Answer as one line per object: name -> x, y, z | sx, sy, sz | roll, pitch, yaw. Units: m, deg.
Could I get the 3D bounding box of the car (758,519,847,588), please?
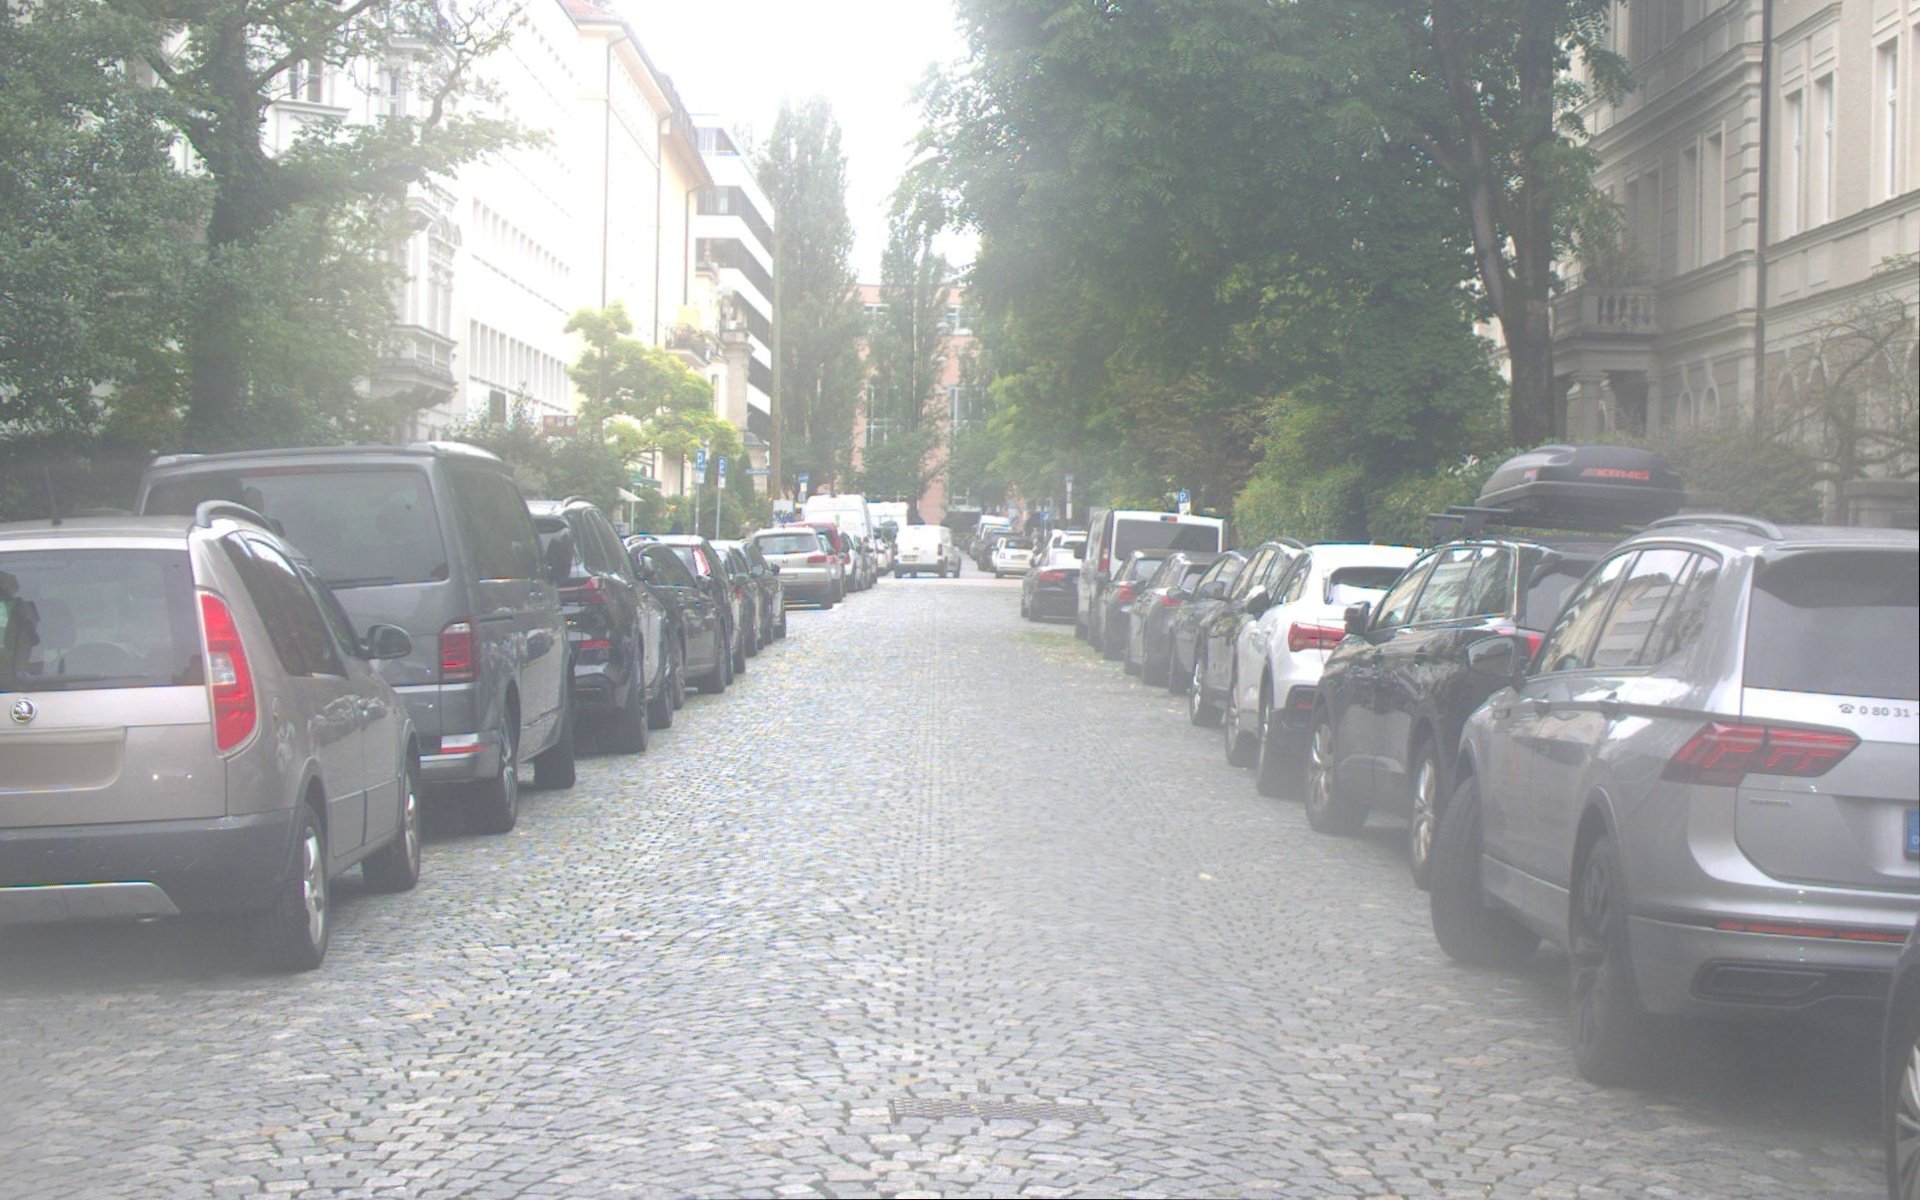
car -> -3.449, -1.045, 75.608 | 1.873, 1.446, 4.208 | -1, 1, -2

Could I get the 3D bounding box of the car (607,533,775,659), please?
car -> -3.285, -0.092, 42.683 | 1.783, 1.412, 4.497 | -2, 1, -1

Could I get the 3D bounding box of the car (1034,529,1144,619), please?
car -> 2.478, -0.529, 67.019 | 1.817, 1.574, 4.208 | 4, 1, -1

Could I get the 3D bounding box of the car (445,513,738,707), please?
car -> -3.159, 0.031, 30.465 | 1.978, 1.555, 5.017 | -1, 1, 1

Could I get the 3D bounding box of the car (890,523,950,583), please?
car -> -1.390, -1.648, 120.077 | 1.993, 2.007, 4.000 | 1, 1, 0

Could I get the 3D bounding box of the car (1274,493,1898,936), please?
car -> 2.862, 0.433, 16.886 | 1.873, 1.729, 4.748 | 5, 1, -3

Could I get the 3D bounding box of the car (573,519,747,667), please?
car -> -3.042, -0.113, 35.490 | 1.662, 1.439, 4.172 | 0, 1, -3

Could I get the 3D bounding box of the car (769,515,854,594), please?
car -> -3.511, -1.103, 81.880 | 1.873, 1.770, 4.123 | -2, 1, -1

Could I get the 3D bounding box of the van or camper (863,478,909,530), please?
van or camper -> -4.009, -5.193, 186.831 | 2.256, 2.733, 5.098 | 2, 1, 0

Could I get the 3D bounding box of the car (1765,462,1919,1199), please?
car -> 2.982, 0.676, 5.925 | 1.873, 1.729, 4.659 | 5, 1, -1

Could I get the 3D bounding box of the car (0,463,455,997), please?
car -> -3.156, 0.384, 13.483 | 1.865, 1.729, 4.404 | -1, 1, -3

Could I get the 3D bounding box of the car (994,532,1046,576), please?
car -> 2.145, -1.671, 123.426 | 1.790, 1.515, 4.000 | 1, 1, 0

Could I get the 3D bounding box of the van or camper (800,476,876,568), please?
van or camper -> -3.608, -2.313, 102.299 | 1.993, 2.643, 4.000 | -2, 1, 0

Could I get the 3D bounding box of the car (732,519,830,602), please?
car -> -3.589, -0.811, 69.446 | 1.873, 1.574, 4.256 | -2, 1, -2

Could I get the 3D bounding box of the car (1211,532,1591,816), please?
car -> 2.696, 0.378, 22.021 | 1.873, 1.485, 4.617 | 3, 2, 2

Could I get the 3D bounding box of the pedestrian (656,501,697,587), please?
pedestrian -> -6.425, -1.278, 77.916 | 0.792, 1.911, 0.759 | 2, 1, 0

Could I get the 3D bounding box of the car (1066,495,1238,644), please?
car -> 2.703, -0.477, 49.573 | 1.873, 1.921, 5.165 | 4, 1, -2

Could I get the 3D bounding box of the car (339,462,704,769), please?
car -> -3.023, 0.045, 24.801 | 1.993, 1.910, 5.178 | -2, 1, -1

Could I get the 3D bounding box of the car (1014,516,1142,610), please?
car -> 2.077, -0.692, 61.774 | 1.873, 1.498, 4.512 | 4, 1, -2

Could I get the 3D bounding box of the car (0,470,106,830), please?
car -> -5.522, 0.192, 15.938 | 1.945, 1.729, 4.658 | 4, 1, -1

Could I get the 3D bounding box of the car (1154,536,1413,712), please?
car -> 2.994, 0.182, 32.608 | 1.694, 1.435, 4.062 | 4, 1, -5

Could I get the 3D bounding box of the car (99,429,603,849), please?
car -> -3.066, 0.130, 18.324 | 1.873, 1.910, 4.828 | -1, 1, -1

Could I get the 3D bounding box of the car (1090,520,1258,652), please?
car -> 2.688, -0.213, 44.092 | 1.837, 1.485, 4.421 | 4, 1, 1

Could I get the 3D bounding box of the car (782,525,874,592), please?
car -> -3.331, -1.062, 87.372 | 1.873, 1.574, 4.208 | 3, 1, 3

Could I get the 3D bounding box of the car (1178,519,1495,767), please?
car -> 2.848, 0.264, 26.997 | 1.873, 1.664, 4.657 | 4, 1, 0

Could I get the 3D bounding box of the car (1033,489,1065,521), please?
car -> 5.833, -6.258, 226.242 | 1.993, 2.007, 4.000 | 1, 1, 0

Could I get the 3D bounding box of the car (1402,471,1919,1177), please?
car -> 2.672, 0.550, 11.043 | 1.873, 1.729, 4.892 | 3, 1, 1

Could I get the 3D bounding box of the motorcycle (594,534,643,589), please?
motorcycle -> -7.702, -0.873, 77.590 | 0.623, 1.192, 1.864 | 2, 1, 9

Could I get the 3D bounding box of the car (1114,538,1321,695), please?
car -> 2.707, 0.128, 37.001 | 1.713, 1.467, 4.269 | 4, 1, -1
